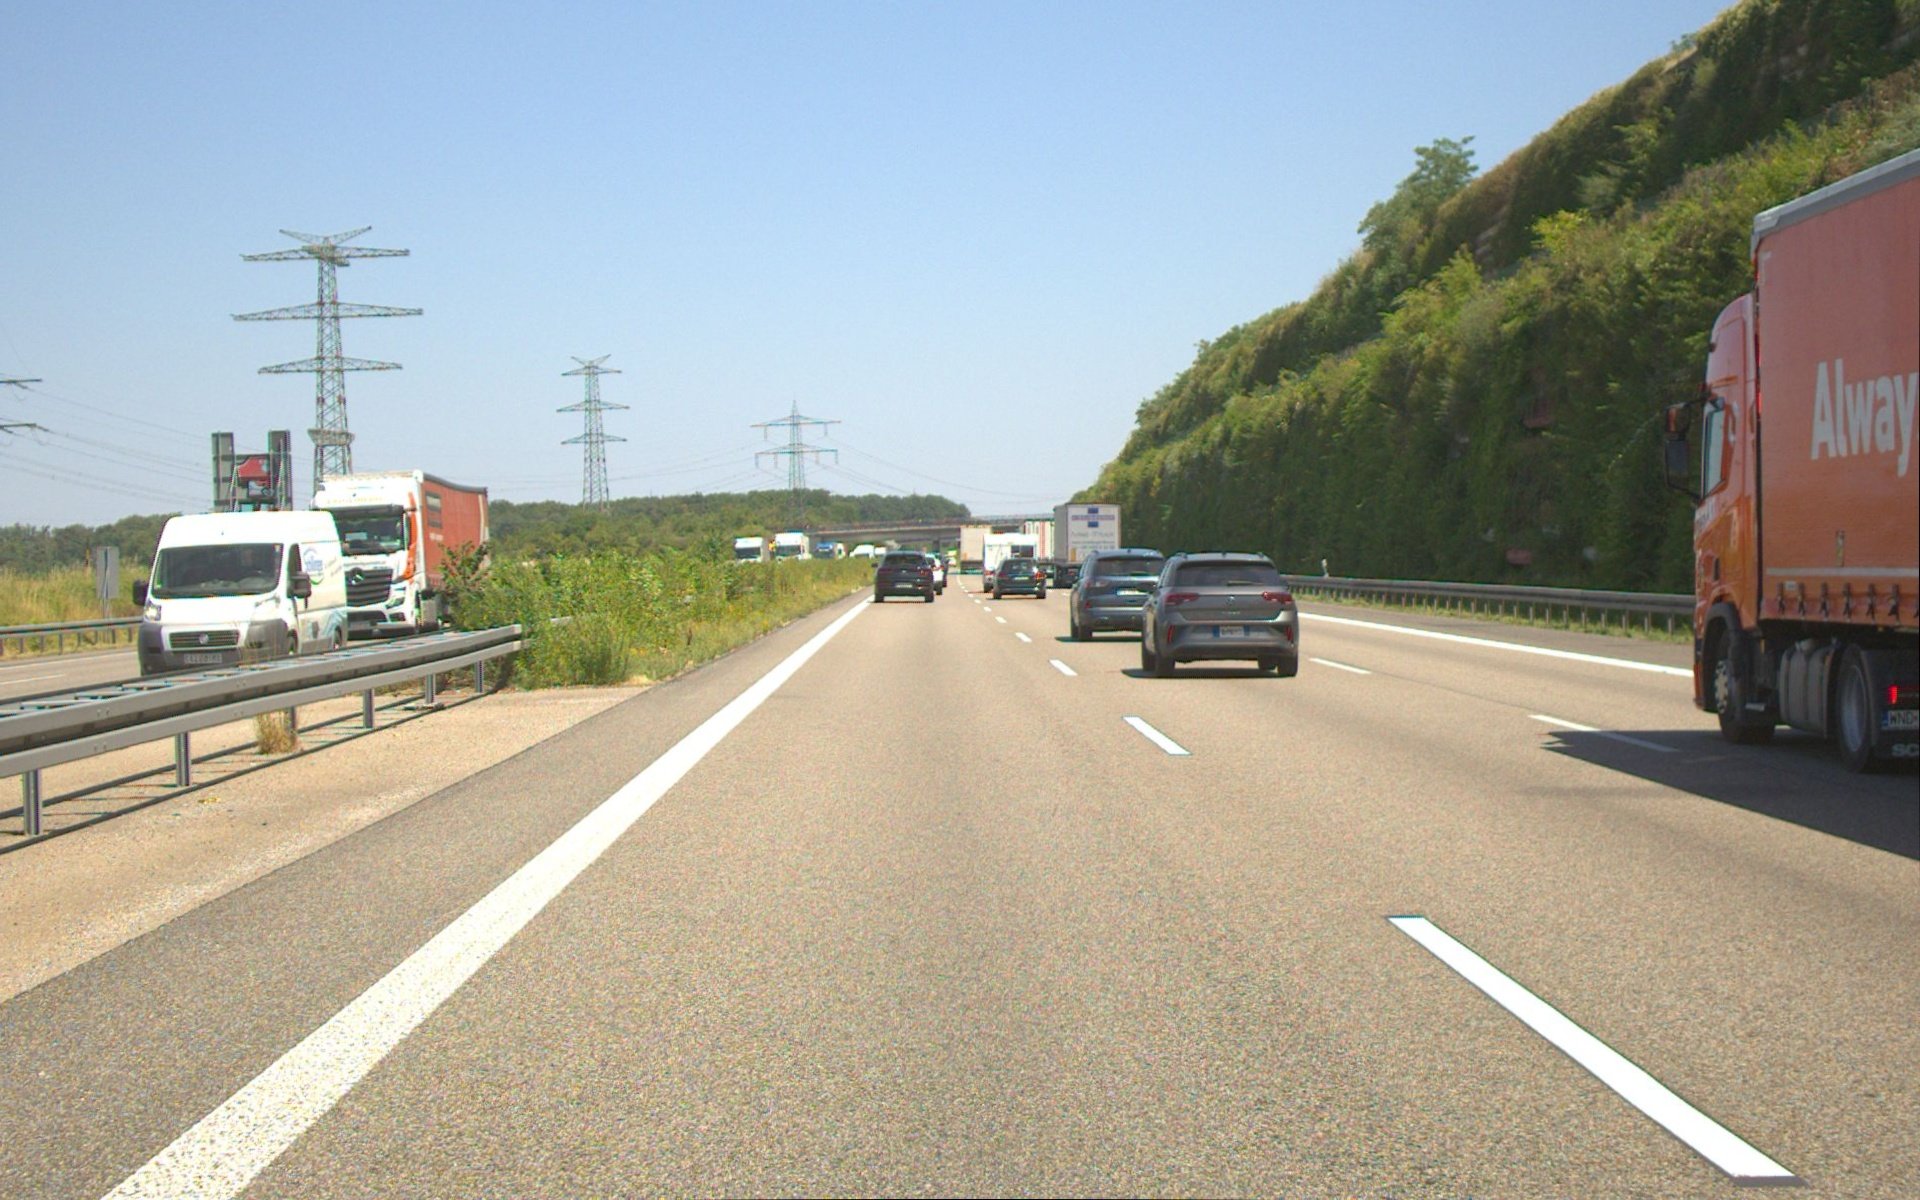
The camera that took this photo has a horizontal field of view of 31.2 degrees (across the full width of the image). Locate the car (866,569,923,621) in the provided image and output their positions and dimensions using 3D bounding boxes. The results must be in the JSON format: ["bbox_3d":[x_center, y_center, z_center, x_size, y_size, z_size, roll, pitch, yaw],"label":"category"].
[{"bbox_3d":[-2.205,-0.197,116.037,1.830,1.665,4.000,-2,1,-1],"label":"car"}]

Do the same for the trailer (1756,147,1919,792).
[{"bbox_3d":[7.298,-0.773,18.667,2.645,3.991,13.607,0,1,-1],"label":"trailer"}]

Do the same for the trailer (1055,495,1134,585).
[{"bbox_3d":[6.491,-2.883,167.466,3.183,4.107,13.432,-1,1,0],"label":"trailer"}]

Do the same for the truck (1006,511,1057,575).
[{"bbox_3d":[4.899,-3.908,237.621,3.119,4.265,11.934,-1,1,0],"label":"truck"}]

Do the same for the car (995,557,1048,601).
[{"bbox_3d":[2.193,-0.761,123.687,1.830,1.520,4.000,-2,1,0],"label":"car"}]

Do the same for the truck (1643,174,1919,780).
[{"bbox_3d":[7.148,-0.870,25.884,2.617,3.979,6.527,-1,1,-1],"label":"truck"}]

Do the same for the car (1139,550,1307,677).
[{"bbox_3d":[3.307,0.137,43.847,1.749,1.520,3.995,-1,1,-1],"label":"car"}]

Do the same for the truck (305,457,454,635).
[{"bbox_3d":[-14.403,-1.343,85.670,2.600,4.197,5.910,-2,1,0],"label":"truck"}]

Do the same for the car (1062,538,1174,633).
[{"bbox_3d":[2.838,-0.279,62.387,1.794,1.647,4.138,-1,1,0],"label":"car"}]

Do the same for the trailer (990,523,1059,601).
[{"bbox_3d":[2.767,-1.671,150.285,2.610,3.202,9.953,-1,1,-1],"label":"trailer"}]

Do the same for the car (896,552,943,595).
[{"bbox_3d":[-1.627,-1.062,138.694,1.830,1.665,4.000,-2,1,-1],"label":"car"}]

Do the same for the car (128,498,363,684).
[{"bbox_3d":[-10.089,-0.170,49.012,1.993,2.429,6.030,-2,1,0],"label":"car"}]

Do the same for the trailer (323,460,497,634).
[{"bbox_3d":[-14.572,-1.423,92.182,2.591,4.223,14.331,-2,1,-1],"label":"trailer"}]
